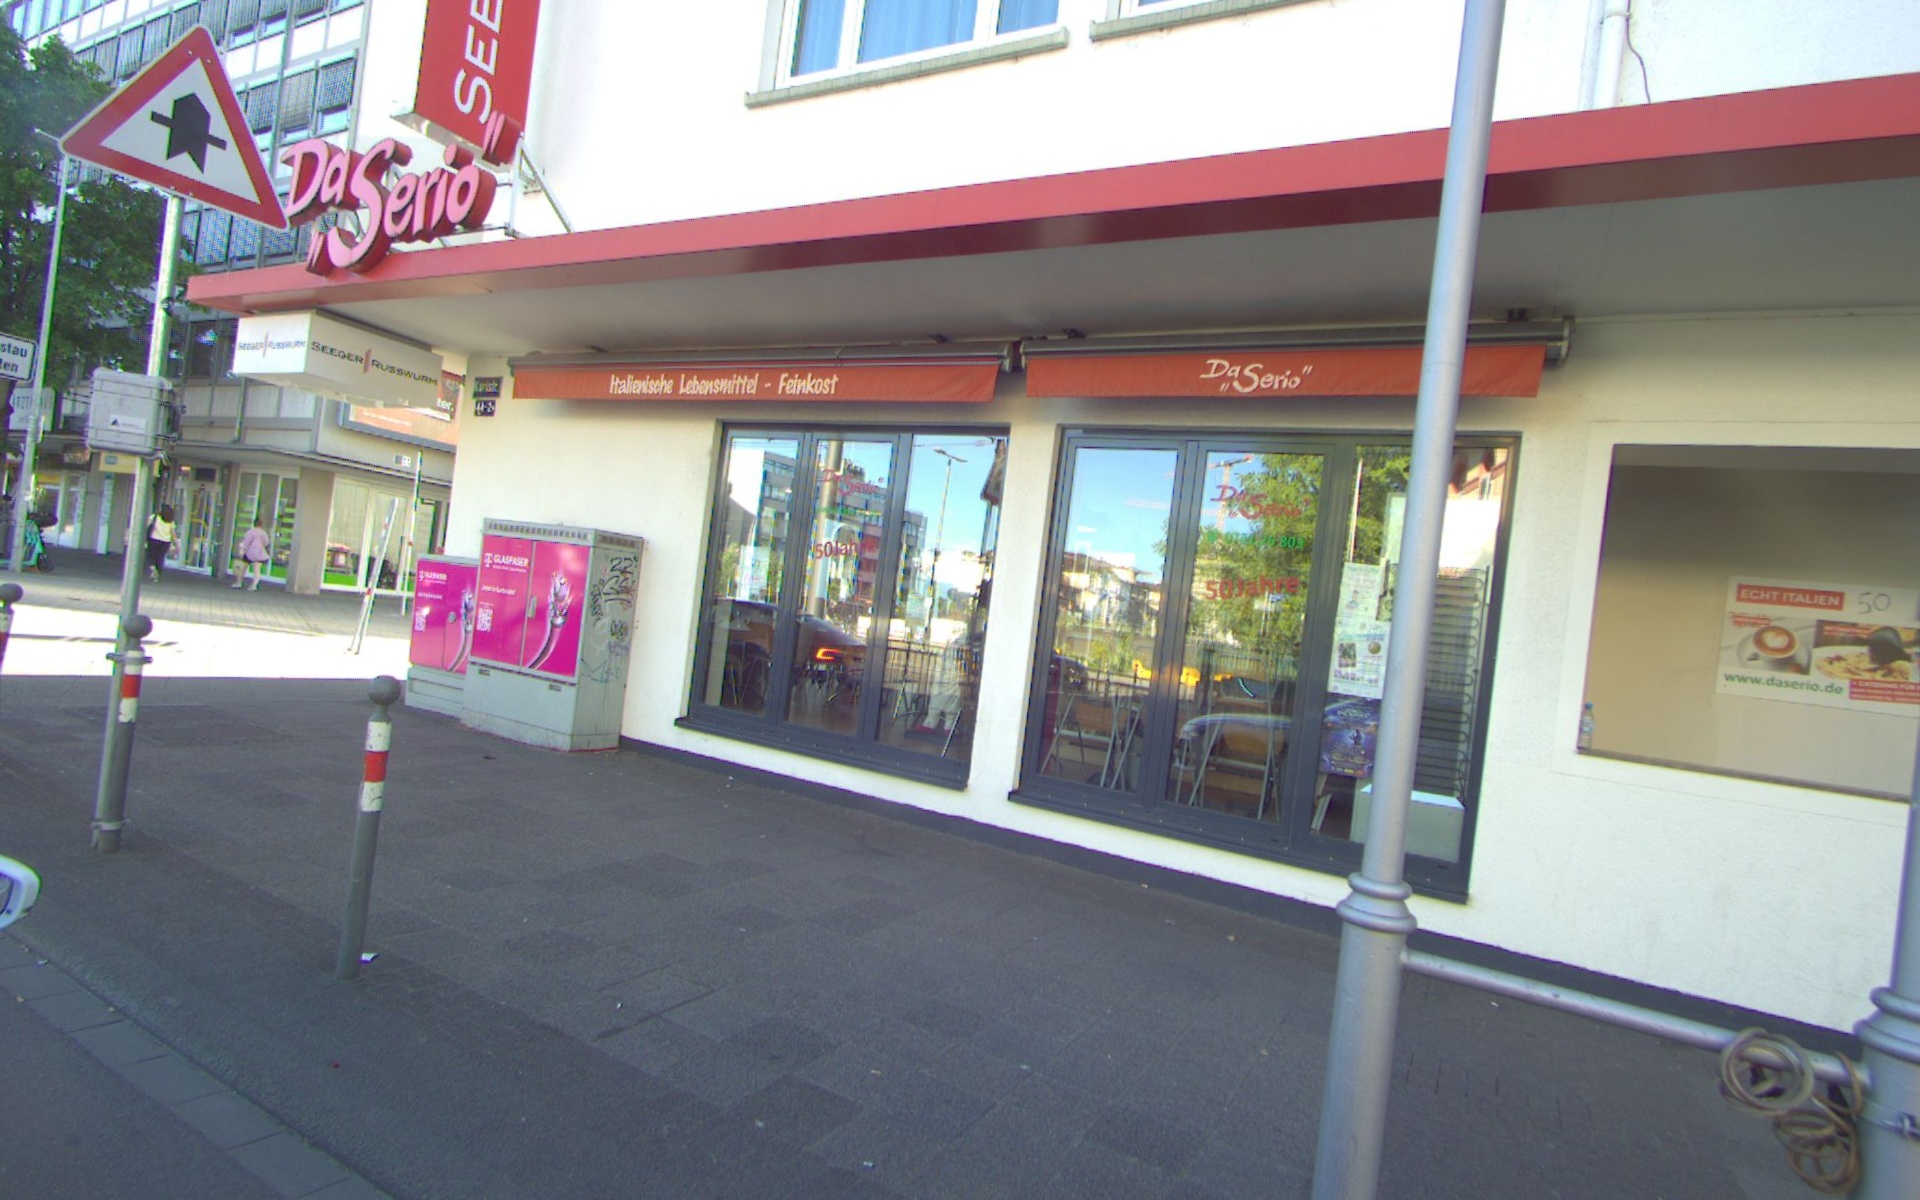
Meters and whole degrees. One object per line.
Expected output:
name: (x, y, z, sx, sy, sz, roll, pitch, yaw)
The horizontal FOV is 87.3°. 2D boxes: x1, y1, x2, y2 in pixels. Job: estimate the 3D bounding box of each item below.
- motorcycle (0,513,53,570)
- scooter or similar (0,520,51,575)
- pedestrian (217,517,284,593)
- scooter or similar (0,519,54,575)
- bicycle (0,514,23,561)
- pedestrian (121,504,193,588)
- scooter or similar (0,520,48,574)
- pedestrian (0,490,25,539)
motorcycle: (-21.519, -1.368, 22.424, 0.495, 1.142, 1.791, 7, -2, 29)
scooter or similar: (-19.848, -1.119, 21.176, 0.157, 1.051, 0.957, 7, -1, 34)
pedestrian: (-16.548, -1.041, 23.466, 0.865, 1.621, 0.844, 6, -1, 31)
scooter or similar: (-19.686, -1.114, 21.067, 0.157, 1.056, 0.964, 7, -1, 34)
bicycle: (-23.215, -1.552, 23.533, 0.392, 1.069, 1.856, 7, 0, 21)
pedestrian: (-17.984, -1.211, 22.539, 0.865, 1.727, 0.844, 6, -1, 31)
scooter or similar: (-20.012, -1.127, 21.287, 0.157, 1.039, 0.964, 7, -1, 34)
pedestrian: (-29.742, -2.670, 31.380, 0.612, 1.438, 0.644, 6, -1, 42)
